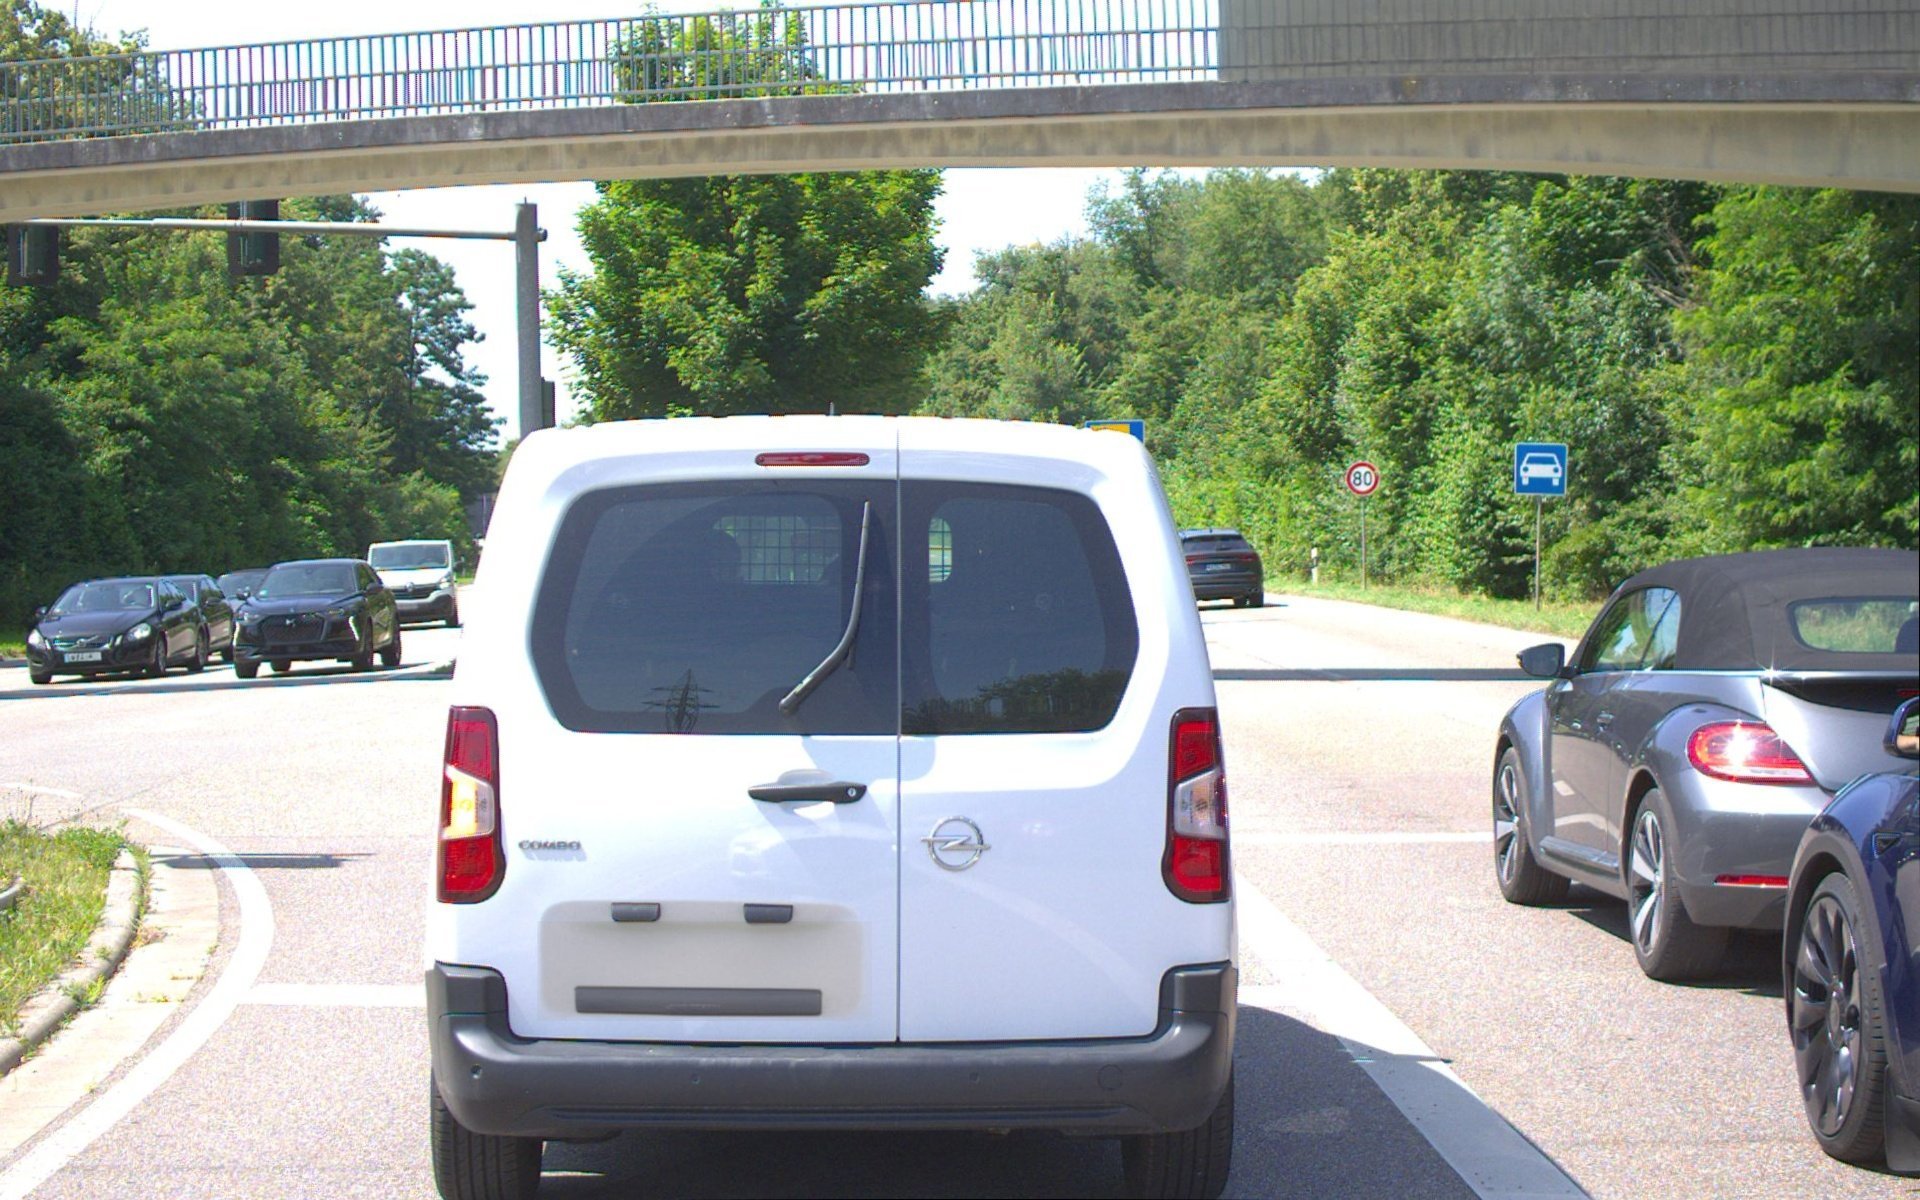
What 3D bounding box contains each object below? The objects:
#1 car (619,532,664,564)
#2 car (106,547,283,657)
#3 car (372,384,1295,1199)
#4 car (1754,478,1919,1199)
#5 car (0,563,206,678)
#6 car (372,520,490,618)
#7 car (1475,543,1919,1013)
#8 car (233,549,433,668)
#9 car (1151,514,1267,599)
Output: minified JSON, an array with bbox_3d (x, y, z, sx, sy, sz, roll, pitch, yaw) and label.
[{"bbox_3d":[-16.792,-2.738,181.438,2.008,1.596,4.055,-2,1,-1],"label":"car"},{"bbox_3d":[-12.388,-0.007,55.886,1.993,1.659,4.000,-1,1,-1],"label":"car"},{"bbox_3d":[-0.311,0.425,8.948,1.849,1.819,3.982,1,2,-2],"label":"car"},{"bbox_3d":[3.059,0.578,6.710,1.900,1.639,4.520,1,1,-1],"label":"car"},{"bbox_3d":[-12.154,0.259,48.787,2.008,1.455,4.055,-2,1,-1],"label":"car"},{"bbox_3d":[-11.621,-0.693,75.839,2.208,1.986,5.489,-2,1,-6],"label":"car"},{"bbox_3d":[3.213,0.541,12.914,1.900,1.472,3.939,1,1,-1],"label":"car"},{"bbox_3d":[-8.408,0.078,46.431,1.993,1.518,4.028,-1,1,-1],"label":"car"},{"bbox_3d":[5.167,-0.936,71.880,2.042,1.693,5.086,-1,1,0],"label":"car"}]
